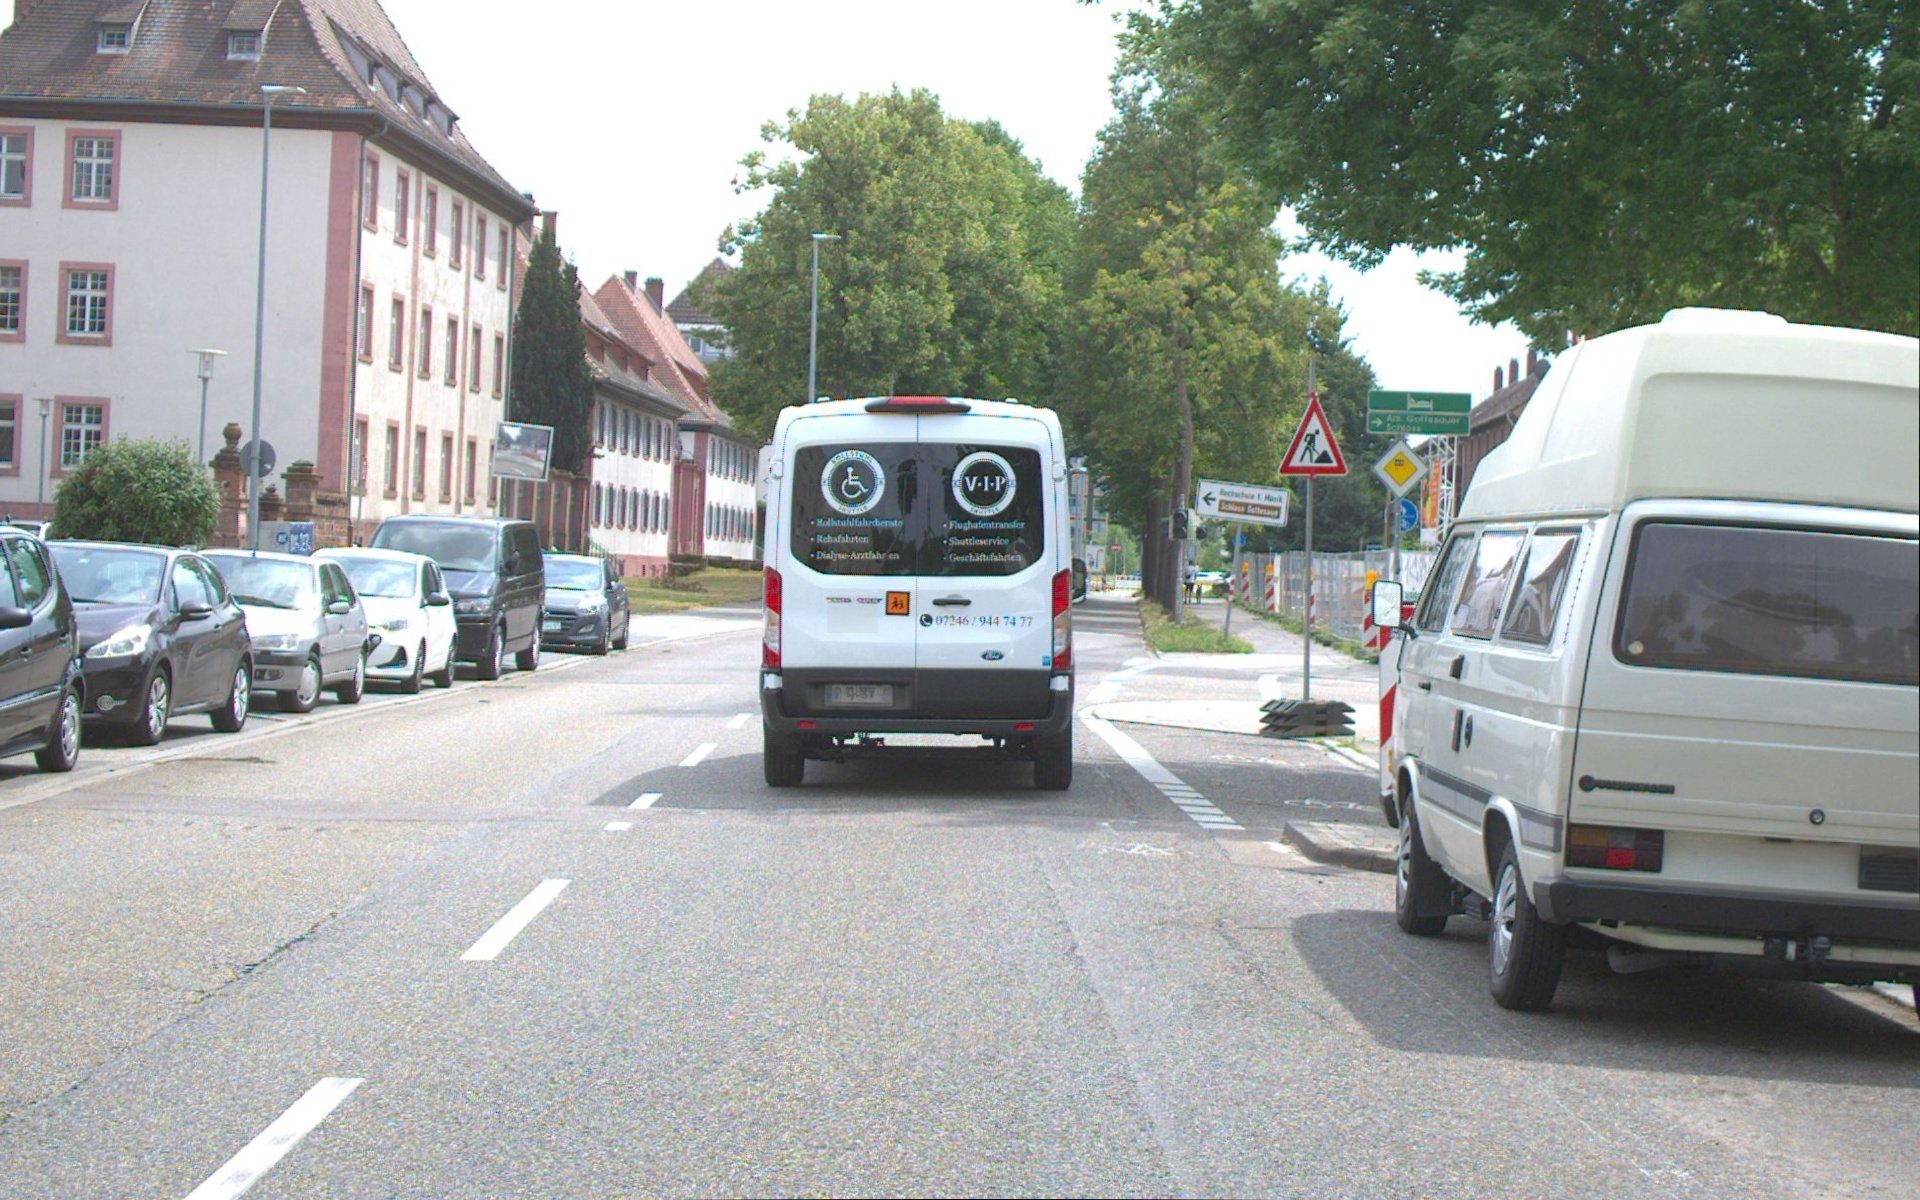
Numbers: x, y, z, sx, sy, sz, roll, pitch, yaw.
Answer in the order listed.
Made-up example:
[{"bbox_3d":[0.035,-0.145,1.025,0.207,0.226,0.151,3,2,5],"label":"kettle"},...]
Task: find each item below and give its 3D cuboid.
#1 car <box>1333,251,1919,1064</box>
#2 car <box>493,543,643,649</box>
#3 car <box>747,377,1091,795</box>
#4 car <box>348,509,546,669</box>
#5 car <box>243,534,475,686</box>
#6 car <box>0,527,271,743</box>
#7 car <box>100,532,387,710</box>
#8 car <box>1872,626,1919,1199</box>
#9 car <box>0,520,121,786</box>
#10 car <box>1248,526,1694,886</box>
[{"bbox_3d":[2.823,0.188,13.722,1.897,2.578,4.829,4,0,-1],"label":"car"},{"bbox_3d":[-5.997,-0.079,52.941,1.786,1.477,3.861,3,1,0],"label":"car"},{"bbox_3d":[-0.361,-0.095,23.464,2.070,2.532,4.635,1,0,-3],"label":"car"},{"bbox_3d":[-6.366,-0.153,43.058,1.786,1.821,3.974,3,1,0],"label":"car"},{"bbox_3d":[-6.520,0.081,37.672,1.786,1.477,3.861,3,1,0],"label":"car"},{"bbox_3d":[-6.585,0.216,26.265,1.786,1.457,3.861,3,1,0],"label":"car"},{"bbox_3d":[-6.577,0.164,31.952,1.786,1.457,3.861,3,1,0],"label":"car"},{"bbox_3d":[2.931,0.879,5.116,1.680,1.464,4.556,5,1,-3],"label":"car"},{"bbox_3d":[-6.432,0.259,20.594,1.786,1.538,3.861,3,1,0],"label":"car"},{"bbox_3d":[2.746,0.515,19.330,1.712,1.689,4.001,4,0,-1],"label":"car"}]
